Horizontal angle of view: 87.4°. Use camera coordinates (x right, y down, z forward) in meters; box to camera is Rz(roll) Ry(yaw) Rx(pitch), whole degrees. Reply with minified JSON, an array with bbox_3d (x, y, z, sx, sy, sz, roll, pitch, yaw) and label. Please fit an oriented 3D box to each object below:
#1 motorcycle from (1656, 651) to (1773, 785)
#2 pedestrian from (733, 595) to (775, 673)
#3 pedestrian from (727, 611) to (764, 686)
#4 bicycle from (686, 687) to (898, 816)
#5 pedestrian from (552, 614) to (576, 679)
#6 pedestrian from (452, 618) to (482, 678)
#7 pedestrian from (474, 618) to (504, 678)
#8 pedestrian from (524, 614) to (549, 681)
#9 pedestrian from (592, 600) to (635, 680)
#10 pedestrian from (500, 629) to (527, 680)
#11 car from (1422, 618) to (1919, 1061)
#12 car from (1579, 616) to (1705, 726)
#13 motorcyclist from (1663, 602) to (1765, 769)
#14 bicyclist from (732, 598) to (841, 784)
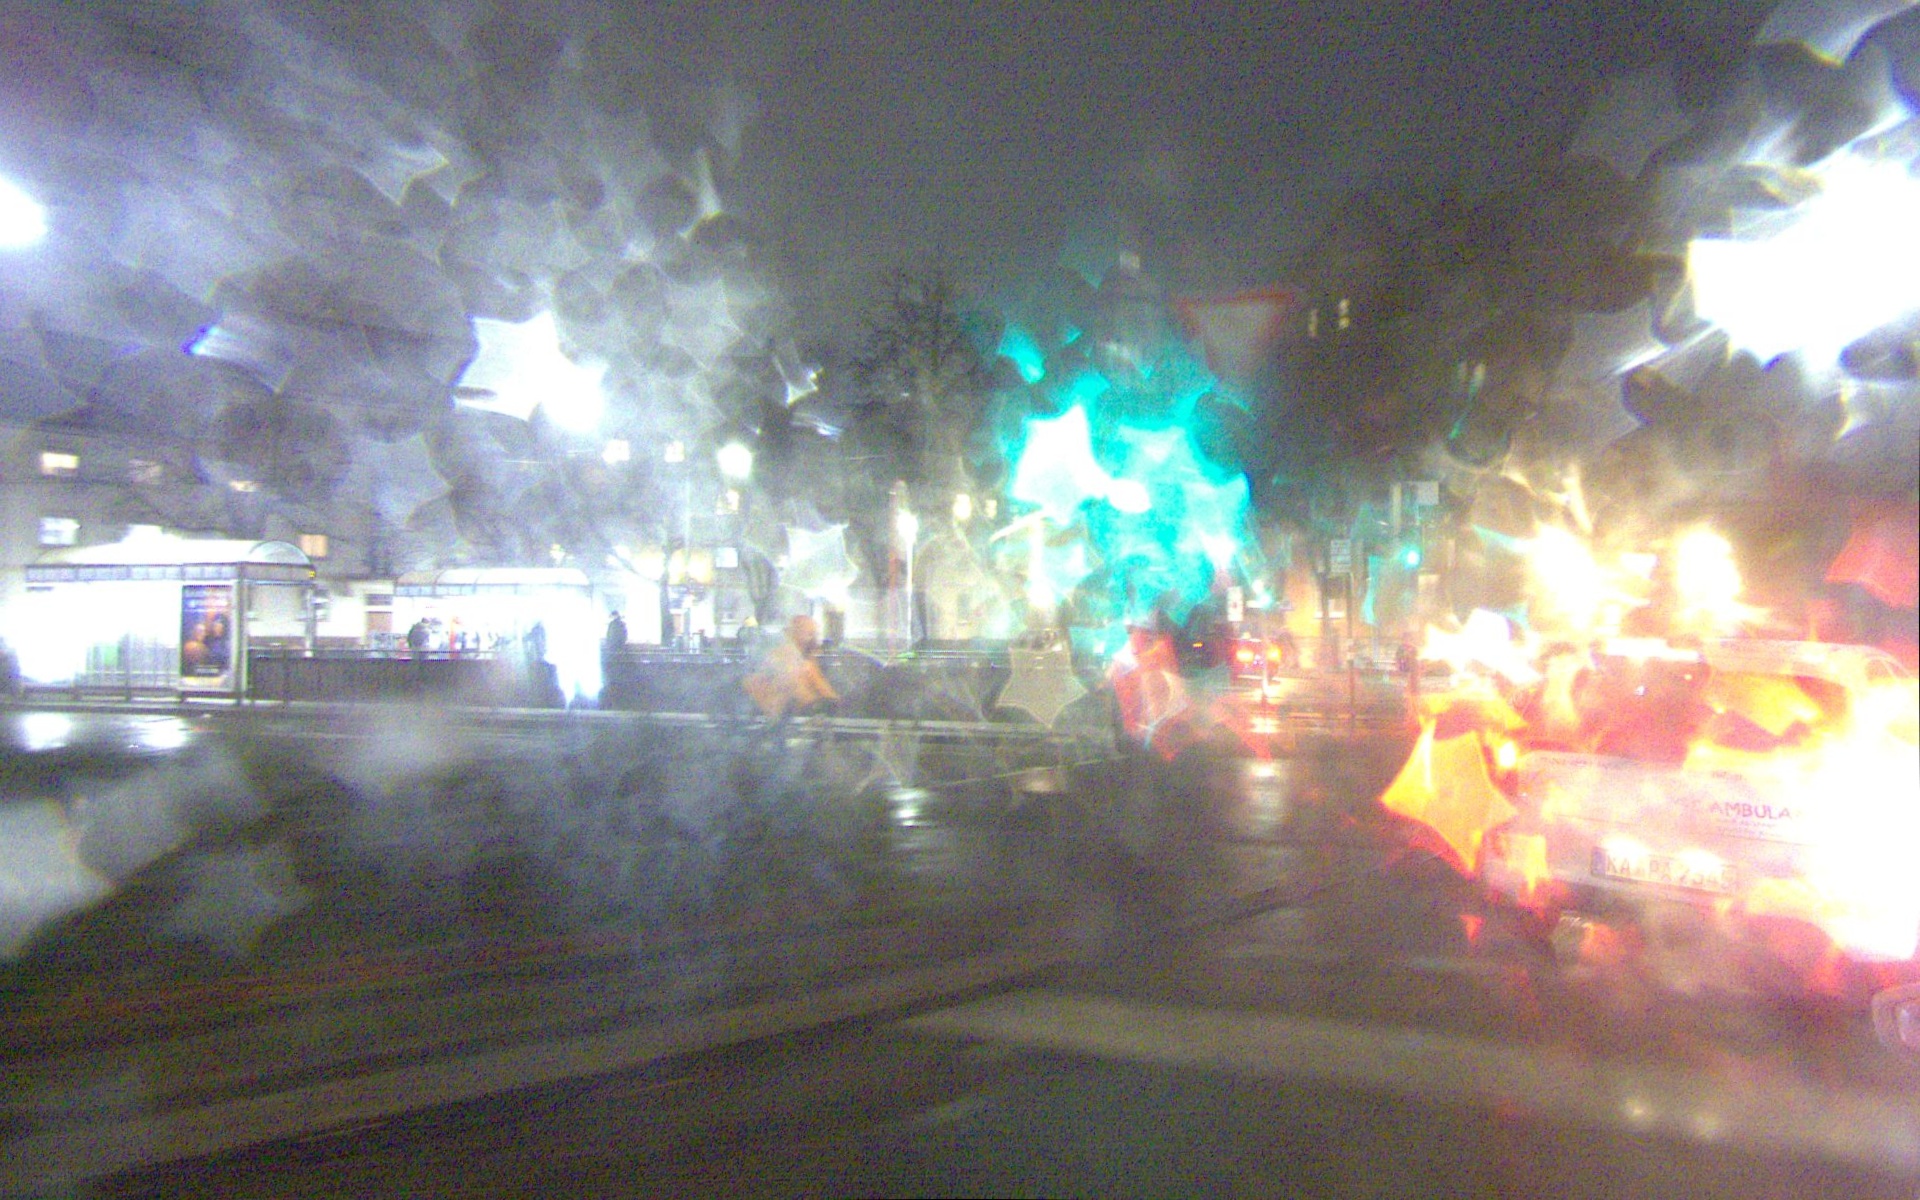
[{"bbox_3d":[8.279,1.226,11.116,0.778,1.229,2.245,1,0,31],"label":"motorcycle"},{"bbox_3d":[-4.844,0.784,23.685,0.659,1.798,0.716,1,1,31],"label":"pedestrian"},{"bbox_3d":[-5.291,1.180,24.789,0.703,1.798,0.671,1,1,6],"label":"pedestrian"},{"bbox_3d":[-1.469,1.307,8.859,1.744,0.982,0.572,1,1,10],"label":"bicycle"},{"bbox_3d":[-10.253,1.198,26.005,0.526,1.651,0.397,0,1,-28],"label":"pedestrian"},{"bbox_3d":[-13.106,1.264,26.717,0.564,1.568,0.511,0,1,-2],"label":"pedestrian"},{"bbox_3d":[-12.532,1.273,26.724,0.575,1.549,0.479,0,1,-2],"label":"pedestrian"},{"bbox_3d":[-10.903,1.216,25.862,0.553,1.674,0.581,0,1,-28],"label":"pedestrian"},{"bbox_3d":[-8.919,1.006,25.886,0.841,2.013,0.610,1,1,13],"label":"pedestrian"},{"bbox_3d":[-11.648,1.412,26.224,0.616,1.270,0.581,0,1,-28],"label":"pedestrian"},{"bbox_3d":[4.169,0.867,5.286,3.570,1.536,1.902,1,-1,-42],"label":"car"},{"bbox_3d":[12.596,1.205,18.509,1.725,1.763,3.786,1,0,36],"label":"car"},{"bbox_3d":[8.245,0.897,11.024,0.778,1.717,0.818,1,0,31],"label":"motorcyclist"},{"bbox_3d":[-1.520,0.769,8.865,0.799,1.568,0.572,1,1,10],"label":"bicyclist"}]
